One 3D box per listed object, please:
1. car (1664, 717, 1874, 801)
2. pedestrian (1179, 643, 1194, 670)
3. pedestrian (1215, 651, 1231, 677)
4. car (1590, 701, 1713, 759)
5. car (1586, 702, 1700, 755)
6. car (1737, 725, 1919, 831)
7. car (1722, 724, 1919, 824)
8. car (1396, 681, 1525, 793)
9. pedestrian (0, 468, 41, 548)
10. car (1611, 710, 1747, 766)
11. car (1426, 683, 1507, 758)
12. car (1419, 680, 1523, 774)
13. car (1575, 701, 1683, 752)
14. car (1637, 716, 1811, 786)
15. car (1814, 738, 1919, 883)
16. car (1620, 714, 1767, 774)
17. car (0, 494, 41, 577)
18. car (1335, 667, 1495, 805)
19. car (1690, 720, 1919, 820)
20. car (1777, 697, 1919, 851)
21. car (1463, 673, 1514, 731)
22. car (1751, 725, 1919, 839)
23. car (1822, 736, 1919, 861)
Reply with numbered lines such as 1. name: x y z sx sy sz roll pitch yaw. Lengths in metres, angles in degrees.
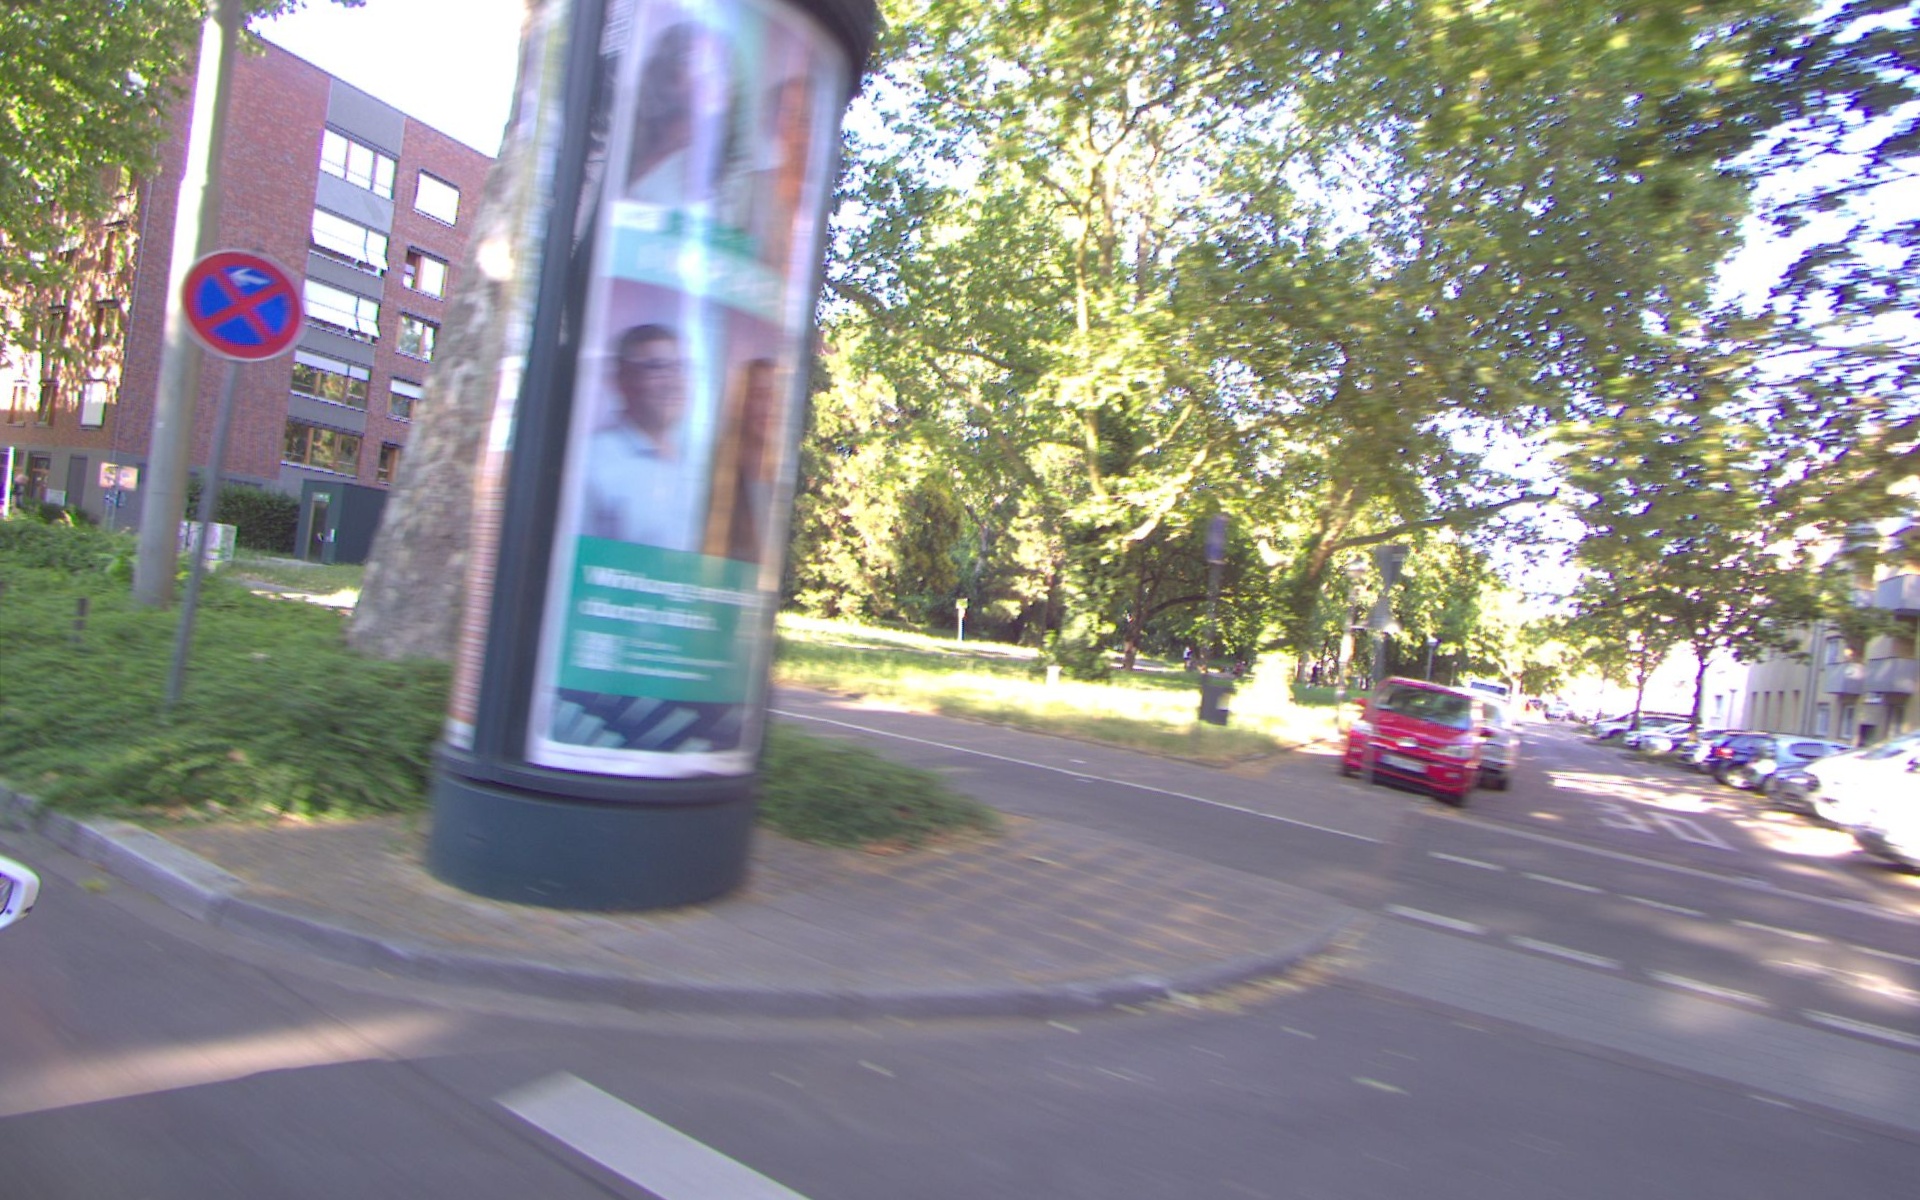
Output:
1. car: 24.208 4.720 30.327 4.498 1.594 1.793 7 0 27
2. pedestrian: 15.283 3.810 67.802 0.639 1.681 0.649 7 0 31
3. pedestrian: 17.840 4.348 68.235 0.639 1.681 0.649 7 0 31
4. car: 33.075 6.202 48.286 4.498 1.930 1.793 7 0 27
5. car: 35.465 6.658 52.400 4.498 1.930 1.793 7 0 27
6. car: 19.010 3.757 20.589 4.498 1.594 1.793 7 0 27
7. car: 20.570 4.045 23.079 4.498 1.594 1.793 7 0 27
8. car: 8.772 2.285 17.507 1.655 1.469 3.925 7 -1 29
9. pedestrian: -23.577 -2.296 24.827 0.998 1.889 0.983 7 3 26
10. car: 31.493 6.036 44.237 4.498 1.594 1.793 7 0 27
11. car: 13.652 3.167 27.002 1.655 1.600 3.925 7 -1 29
12. car: 11.075 2.659 21.714 1.655 1.600 3.925 7 -1 29
13. car: 36.447 6.868 54.958 4.498 1.930 1.793 7 0 27
14. car: 26.963 5.294 35.704 4.498 1.594 1.793 7 0 27
15. car: 13.656 2.908 12.247 4.496 1.594 1.794 7 0 26
16. car: 30.128 5.899 41.490 4.498 1.594 1.793 7 0 27
17. car: -18.779 -1.388 17.407 1.622 1.440 3.889 7 -1 34
18. car: 6.559 1.833 14.294 1.655 1.470 3.545 7 -1 29
19. car: 21.384 4.222 25.318 4.498 1.594 1.793 7 0 27
20. car: 16.628 3.047 16.105 4.996 2.211 1.916 7 0 28
21. car: 27.192 5.206 51.722 1.942 2.593 5.039 7 -1 29
22. car: 17.483 3.478 18.260 4.498 1.594 1.793 7 0 27
23. car: 15.467 3.149 14.242 4.498 1.594 1.793 7 0 27
